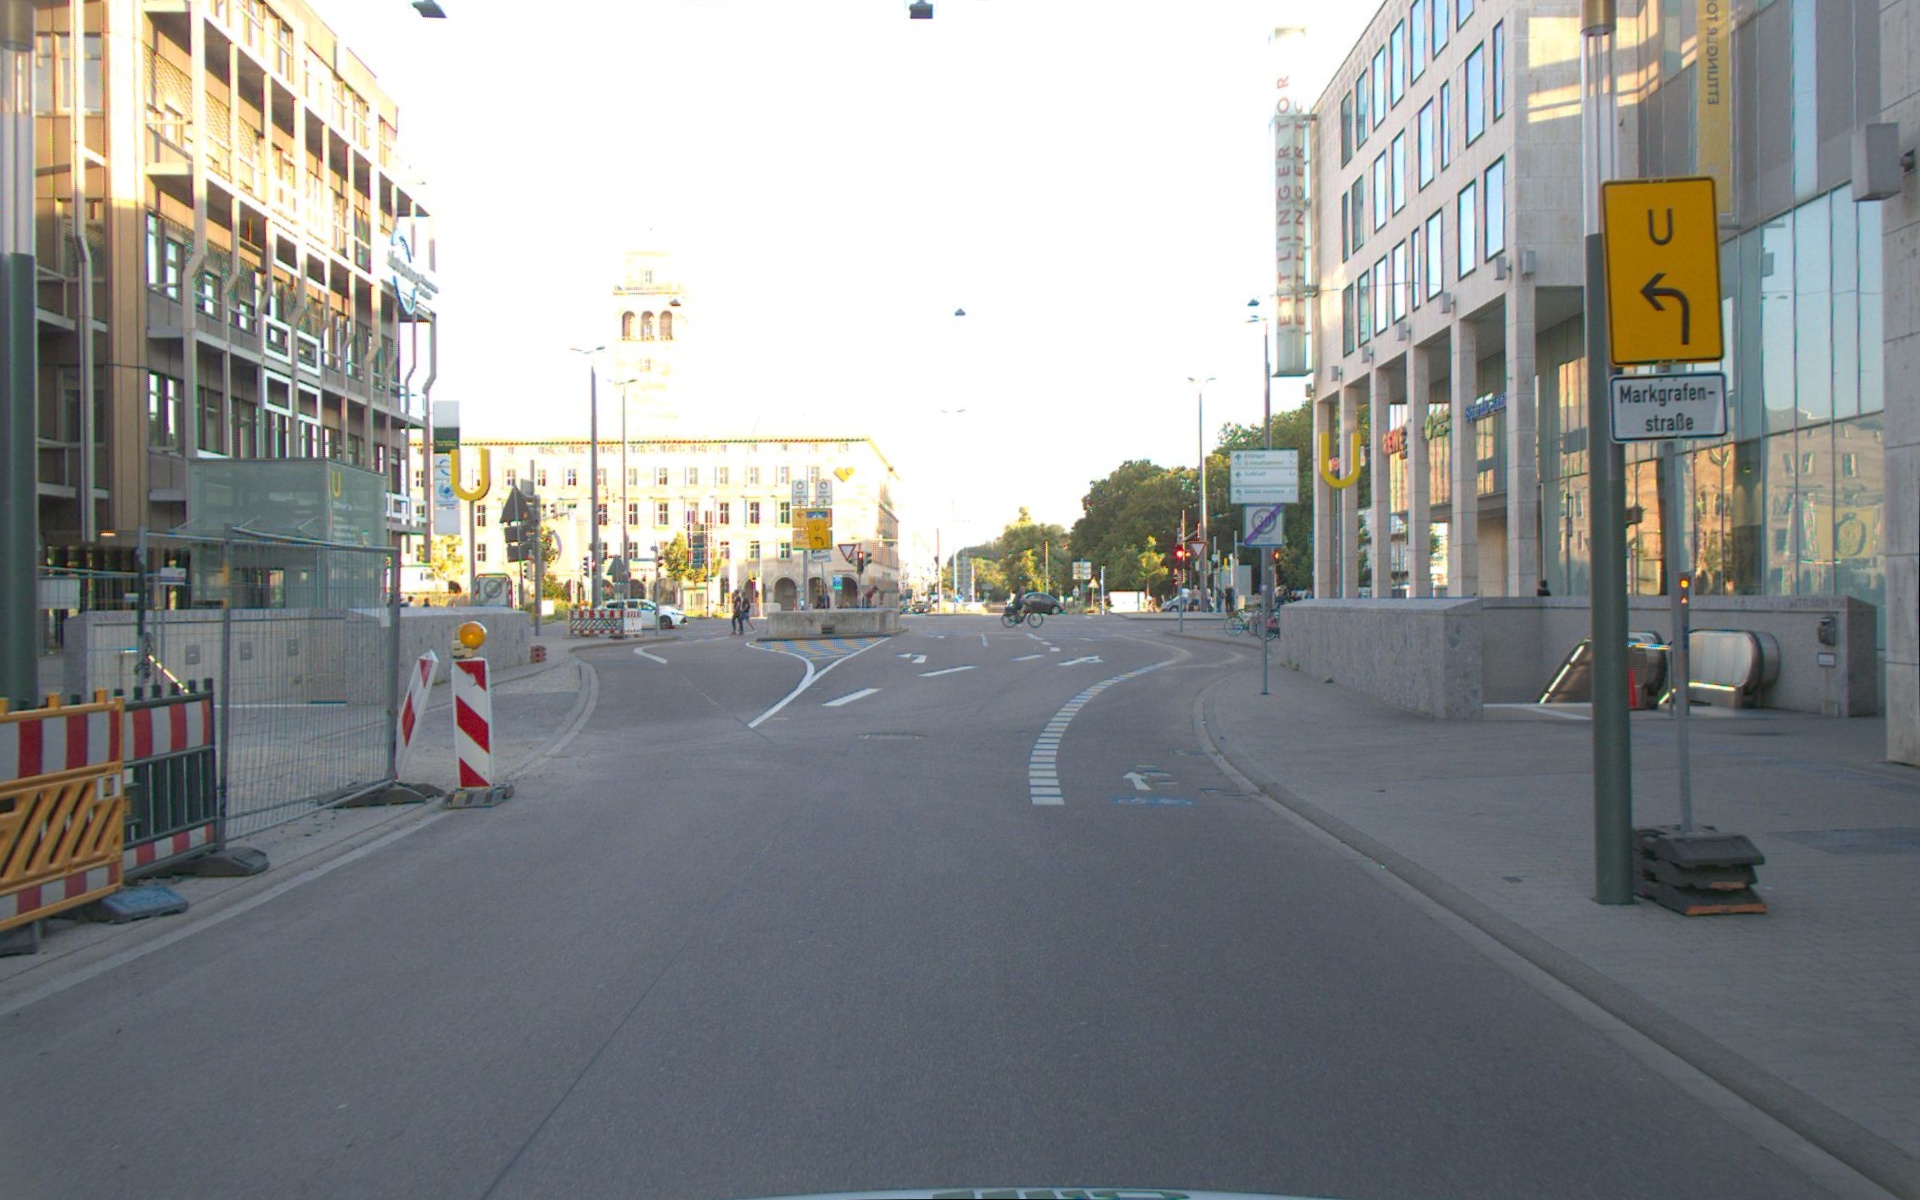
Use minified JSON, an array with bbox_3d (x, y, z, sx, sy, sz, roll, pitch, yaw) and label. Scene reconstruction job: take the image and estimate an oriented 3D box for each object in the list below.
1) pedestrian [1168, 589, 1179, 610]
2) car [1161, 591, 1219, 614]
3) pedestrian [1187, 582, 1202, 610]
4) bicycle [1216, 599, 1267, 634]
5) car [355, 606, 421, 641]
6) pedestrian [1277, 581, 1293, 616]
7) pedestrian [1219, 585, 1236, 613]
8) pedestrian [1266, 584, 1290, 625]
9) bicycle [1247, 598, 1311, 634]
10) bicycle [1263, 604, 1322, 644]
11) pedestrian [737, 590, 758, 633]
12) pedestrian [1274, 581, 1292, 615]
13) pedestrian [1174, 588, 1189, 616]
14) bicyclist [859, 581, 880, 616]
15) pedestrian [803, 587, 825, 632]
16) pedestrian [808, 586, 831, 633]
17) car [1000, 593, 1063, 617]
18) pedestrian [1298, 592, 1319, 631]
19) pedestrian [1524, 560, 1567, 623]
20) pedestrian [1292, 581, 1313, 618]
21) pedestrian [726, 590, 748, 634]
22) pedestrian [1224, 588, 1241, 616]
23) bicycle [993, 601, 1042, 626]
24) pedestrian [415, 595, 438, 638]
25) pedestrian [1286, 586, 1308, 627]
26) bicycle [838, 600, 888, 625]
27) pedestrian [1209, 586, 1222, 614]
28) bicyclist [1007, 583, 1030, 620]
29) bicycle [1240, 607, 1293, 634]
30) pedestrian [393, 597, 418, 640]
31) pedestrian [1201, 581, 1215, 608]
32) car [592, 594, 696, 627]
[{"bbox_3d":[18.579,-0.035,143.645,0.792,1.760,0.929,-1,0,-1],"label":"pedestrian"},{"bbox_3d":[15.628,0.155,112.521,3.642,1.478,1.544,-1,0,-6],"label":"car"},{"bbox_3d":[14.832,-0.235,104.666,0.792,1.760,0.688,-1,0,-1],"label":"pedestrian"},{"bbox_3d":[10.232,0.593,60.148,1.779,1.233,0.571,-1,0,16],"label":"bicycle"},{"bbox_3d":[-29.512,1.193,85.397,3.077,1.714,1.606,-1,0,-13],"label":"car"},{"bbox_3d":[16.515,-0.062,84.158,0.677,1.760,0.741,-1,0,2],"label":"pedestrian"},{"bbox_3d":[16.912,-0.062,104.657,0.797,1.760,0.683,-1,0,-22],"label":"pedestrian"},{"bbox_3d":[14.254,0.202,74.133,0.843,1.808,0.741,-3,0,1],"label":"pedestrian"},{"bbox_3d":[9.715,0.481,50.338,1.858,1.066,0.571,-1,0,5],"label":"bicycle"},{"bbox_3d":[11.073,0.797,55.123,1.829,1.282,0.673,1,0,-1],"label":"bicycle"},{"bbox_3d":[-9.065,0.484,70.489,0.723,1.808,0.863,-3,0,-2],"label":"pedestrian"},{"bbox_3d":[16.891,-0.090,86.576,0.818,1.760,0.688,-1,0,5],"label":"pedestrian"},{"bbox_3d":[14.022,0.115,104.622,0.792,1.760,0.688,-1,0,-1],"label":"pedestrian"},{"bbox_3d":[-4.091,-0.050,74.682,0.861,1.557,0.654,-1,0,2],"label":"bicyclist"},{"bbox_3d":[-5.949,0.375,67.282,0.726,1.808,0.859,0,0,-17],"label":"pedestrian"},{"bbox_3d":[-5.634,0.380,66.292,0.725,1.808,0.860,-2,0,-13],"label":"pedestrian"},{"bbox_3d":[4.775,0.315,110.883,3.914,1.520,1.824,-1,0,-10],"label":"car"},{"bbox_3d":[16.228,0.531,77.019,0.874,1.760,0.688,-1,0,3],"label":"pedestrian"},{"bbox_3d":[17.053,-0.248,48.167,0.843,1.808,0.990,-2,0,-1],"label":"pedestrian"},{"bbox_3d":[16.392,-0.038,79.126,0.874,1.760,0.688,-1,0,4],"label":"pedestrian"},{"bbox_3d":[-9.391,0.508,69.651,0.723,1.808,0.863,-3,0,-2],"label":"pedestrian"},{"bbox_3d":[17.382,0.150,105.506,0.677,1.760,0.804,-1,0,-25],"label":"pedestrian"},{"bbox_3d":[2.597,0.600,74.808,2.196,1.080,0.653,-1,0,1],"label":"bicycle"},{"bbox_3d":[-23.182,0.706,71.860,0.731,1.808,0.854,-3,0,-30],"label":"pedestrian"},{"bbox_3d":[15.086,0.289,74.121,0.740,1.808,0.741,-3,0,1],"label":"pedestrian"},{"bbox_3d":[-4.377,0.575,74.687,2.195,1.080,0.654,-1,0,2],"label":"bicycle"},{"bbox_3d":[16.154,-0.010,104.616,0.791,1.760,0.688,-1,0,13],"label":"pedestrian"},{"bbox_3d":[2.661,0.083,74.810,0.998,1.649,0.653,-1,0,1],"label":"bicyclist"},{"bbox_3d":[11.076,0.729,59.753,1.829,0.953,0.516,-1,0,-1],"label":"bicycle"},{"bbox_3d":[-24.004,0.798,71.575,0.733,1.808,0.852,-3,0,-36],"label":"pedestrian"},{"bbox_3d":[15.832,-0.357,105.571,0.791,1.760,0.688,-1,0,13],"label":"pedestrian"},{"bbox_3d":[-15.466,0.512,81.115,4.698,1.522,2.128,-1,0,0],"label":"car"}]
